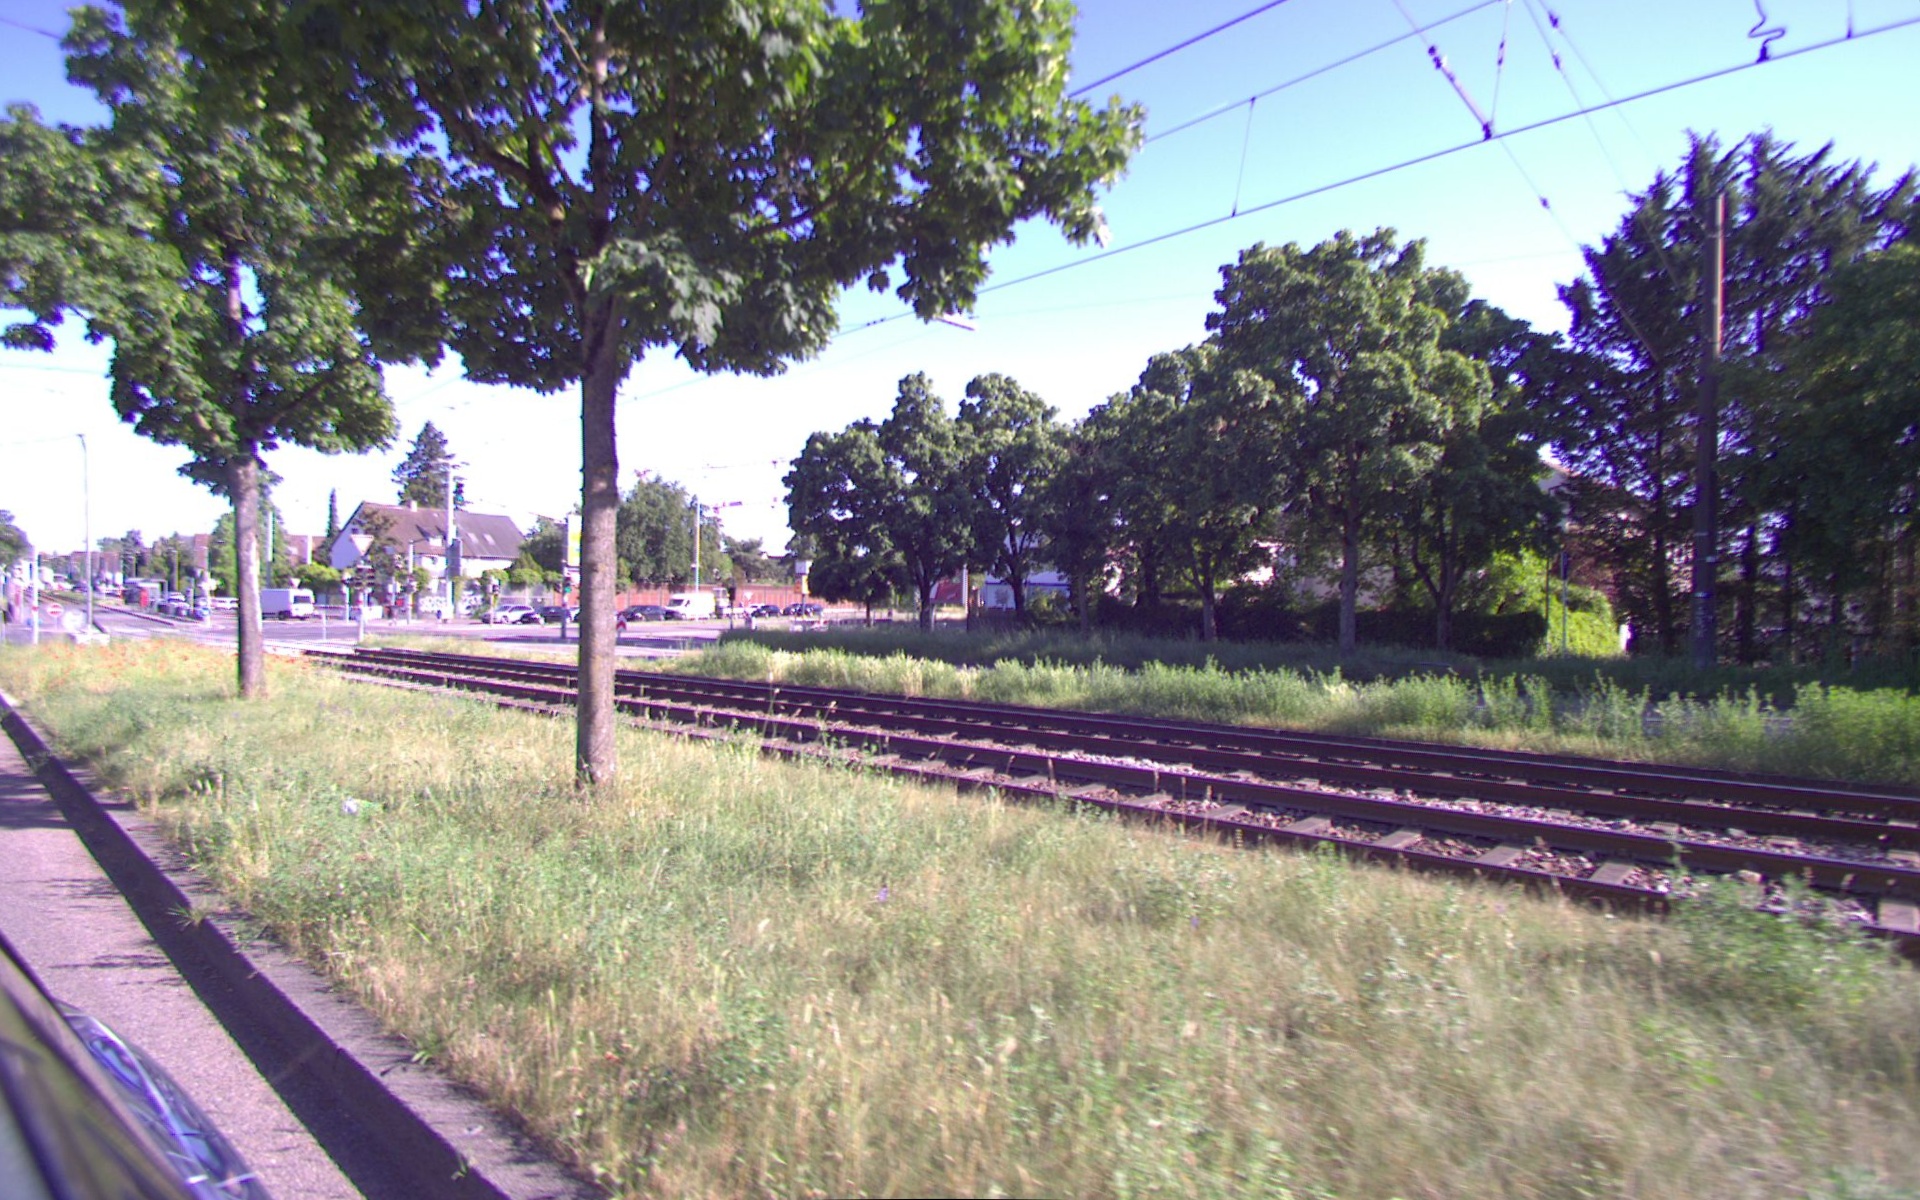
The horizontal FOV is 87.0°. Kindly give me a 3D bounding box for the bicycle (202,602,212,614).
[{"bbox_3d":[-72.108,0.762,96.964,0.501,1.050,1.950,1,-1,-44],"label":"bicycle"}]

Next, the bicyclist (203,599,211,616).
[{"bbox_3d":[-72.266,0.759,97.100,0.484,1.620,0.649,1,-1,-44],"label":"bicyclist"}]

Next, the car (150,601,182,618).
[{"bbox_3d":[-82.487,0.978,105.145,4.691,1.608,1.794,0,0,41],"label":"car"}]

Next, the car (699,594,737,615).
[{"bbox_3d":[-23.680,0.449,99.094,1.793,2.029,3.977,1,0,17],"label":"car"}]

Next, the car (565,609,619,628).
[{"bbox_3d":[-29.740,1.450,81.851,1.922,1.477,4.234,0,-1,18],"label":"car"}]

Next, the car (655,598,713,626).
[{"bbox_3d":[-25.416,1.112,93.323,2.165,2.429,5.882,1,0,20],"label":"car"}]

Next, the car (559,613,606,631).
[{"bbox_3d":[-31.940,1.864,85.752,1.659,1.488,3.976,1,0,18],"label":"car"}]

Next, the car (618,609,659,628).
[{"bbox_3d":[-27.606,1.595,86.944,1.486,1.579,3.504,0,-1,20],"label":"car"}]

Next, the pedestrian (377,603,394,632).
[{"bbox_3d":[-39.896,1.198,70.294,0.766,1.963,0.611,0,-1,2],"label":"pedestrian"}]

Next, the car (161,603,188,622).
[{"bbox_3d":[-70.538,1.107,90.879,1.769,1.700,4.008,1,-1,-40],"label":"car"}]

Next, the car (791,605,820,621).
[{"bbox_3d":[-17.493,1.444,114.729,1.793,1.755,3.978,0,-1,17],"label":"car"}]

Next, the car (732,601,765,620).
[{"bbox_3d":[-23.104,1.104,110.695,1.793,2.029,3.978,1,0,17],"label":"car"}]

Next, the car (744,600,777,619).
[{"bbox_3d":[-21.034,1.010,106.900,1.793,2.029,3.978,1,0,17],"label":"car"}]

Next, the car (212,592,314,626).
[{"bbox_3d":[-55.012,0.705,79.910,6.790,2.476,2.343,1,-1,8],"label":"car"}]

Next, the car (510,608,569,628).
[{"bbox_3d":[-31.825,1.350,76.719,1.922,1.477,4.223,0,0,18],"label":"car"}]

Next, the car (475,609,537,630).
[{"bbox_3d":[-34.768,1.490,77.625,1.659,1.488,4.609,1,0,18],"label":"car"}]
